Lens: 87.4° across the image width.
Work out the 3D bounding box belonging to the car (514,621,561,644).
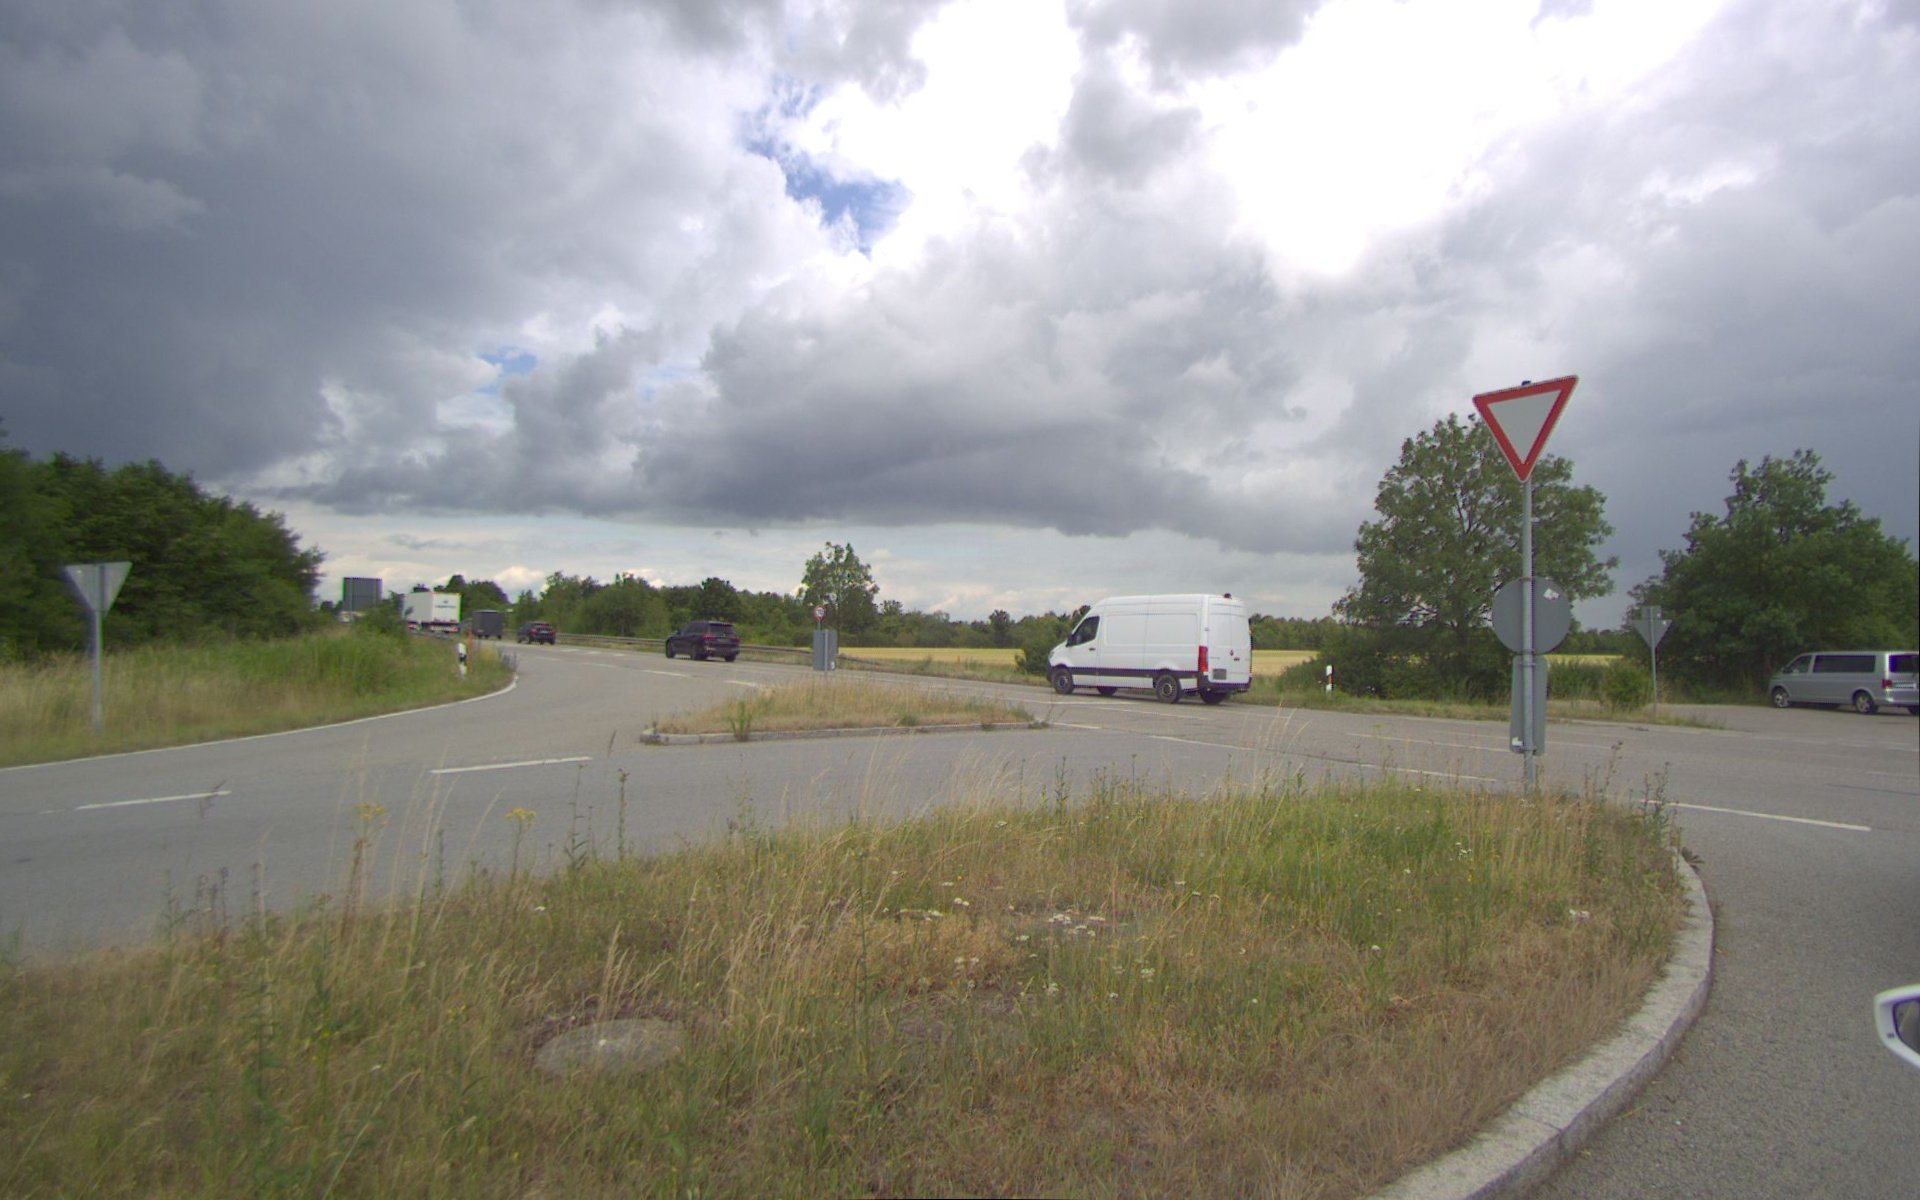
[{"bbox_3d":[-29.681,2.298,70.490,1.983,1.506,4.254,3,-3,-38],"label":"car"}]

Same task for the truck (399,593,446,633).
[{"bbox_3d":[-56.974,1.410,106.379,3.102,4.066,7.228,4,-3,-38],"label":"truck"}]

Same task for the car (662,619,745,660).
[{"bbox_3d":[-11.967,1.814,46.698,1.984,1.798,4.591,3,-2,-39],"label":"car"}]

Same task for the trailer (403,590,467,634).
[{"bbox_3d":[-53.102,1.268,101.352,3.102,4.066,13.736,4,-3,-38],"label":"trailer"}]

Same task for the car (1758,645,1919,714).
[{"bbox_3d":[29.278,2.532,32.983,2.295,2.040,4.916,0,-2,1],"label":"car"}]

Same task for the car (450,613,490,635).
[{"bbox_3d":[-41.816,2.069,85.620,1.984,1.704,4.426,4,-4,-40],"label":"car"}]

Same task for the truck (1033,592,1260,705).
[{"bbox_3d":[4.681,1.205,26.209,1.983,2.609,5.948,4,-3,-39],"label":"truck"}]

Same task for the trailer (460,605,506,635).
[{"bbox_3d":[-39.077,1.673,82.217,2.398,2.322,4.346,4,-4,-39],"label":"trailer"}]

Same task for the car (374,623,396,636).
[{"bbox_3d":[-72.245,3.717,126.243,1.981,1.622,4.182,1,-3,-36],"label":"car"}]
